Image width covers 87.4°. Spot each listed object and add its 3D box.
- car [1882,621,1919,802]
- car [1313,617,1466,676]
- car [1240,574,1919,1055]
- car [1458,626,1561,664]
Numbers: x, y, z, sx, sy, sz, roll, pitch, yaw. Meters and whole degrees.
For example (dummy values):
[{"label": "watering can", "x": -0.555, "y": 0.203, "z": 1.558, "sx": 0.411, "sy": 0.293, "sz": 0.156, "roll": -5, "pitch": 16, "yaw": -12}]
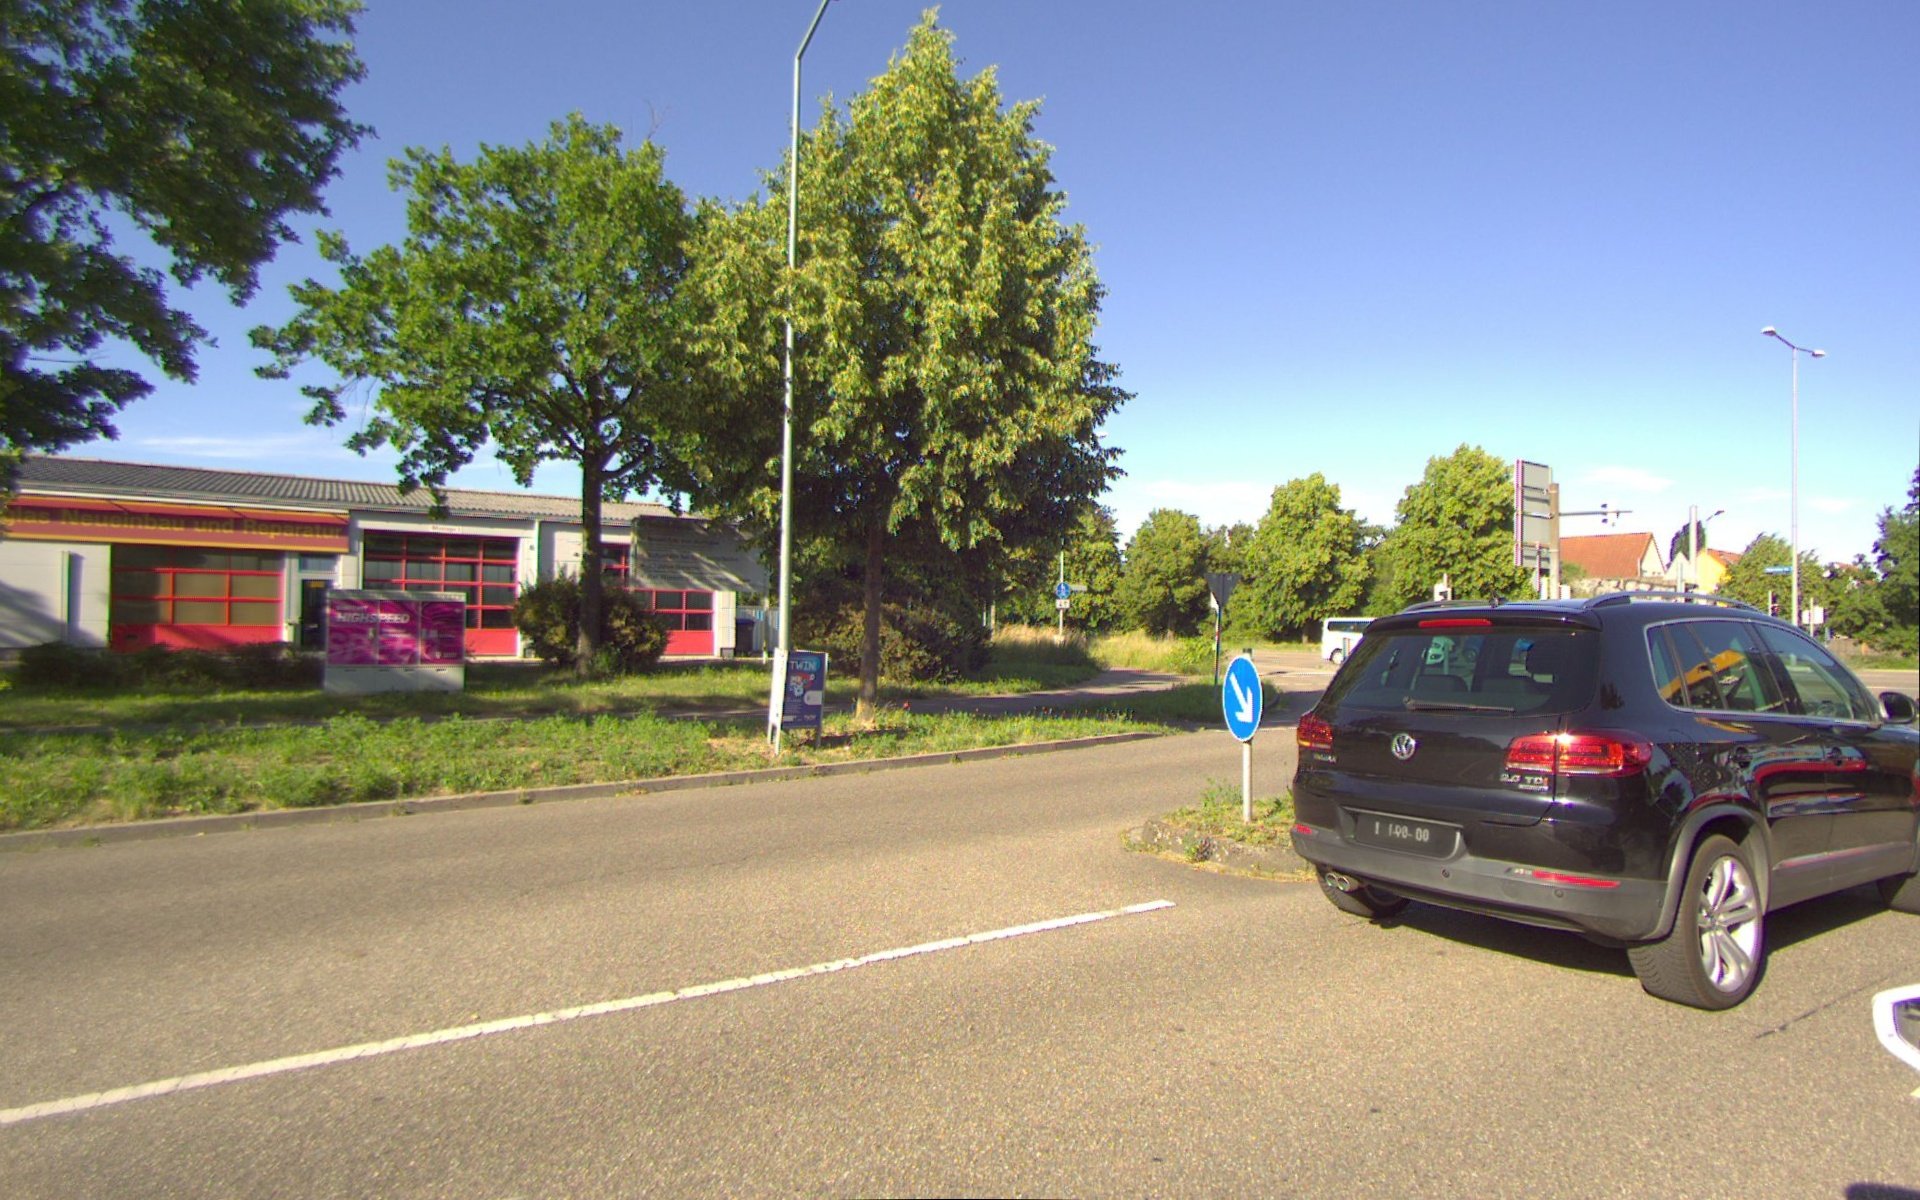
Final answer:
[{"label": "car", "x": 10.552, "y": 1.010, "z": 9.405, "sx": 3.954, "sy": 1.610, "sz": 1.753, "roll": 1, "pitch": -3, "yaw": -31}, {"label": "car", "x": 17.237, "y": 1.806, "z": 40.598, "sx": 2.160, "sy": 2.146, "sz": 5.350, "roll": 2, "pitch": -1, "yaw": -35}, {"label": "car", "x": 3.551, "y": 0.825, "z": 5.310, "sx": 3.954, "sy": 1.675, "sz": 1.763, "roll": 1, "pitch": -3, "yaw": -31}, {"label": "car", "x": 23.754, "y": 1.915, "z": 43.493, "sx": 1.733, "sy": 1.581, "sz": 3.559, "roll": 2, "pitch": -2, "yaw": -35}]
